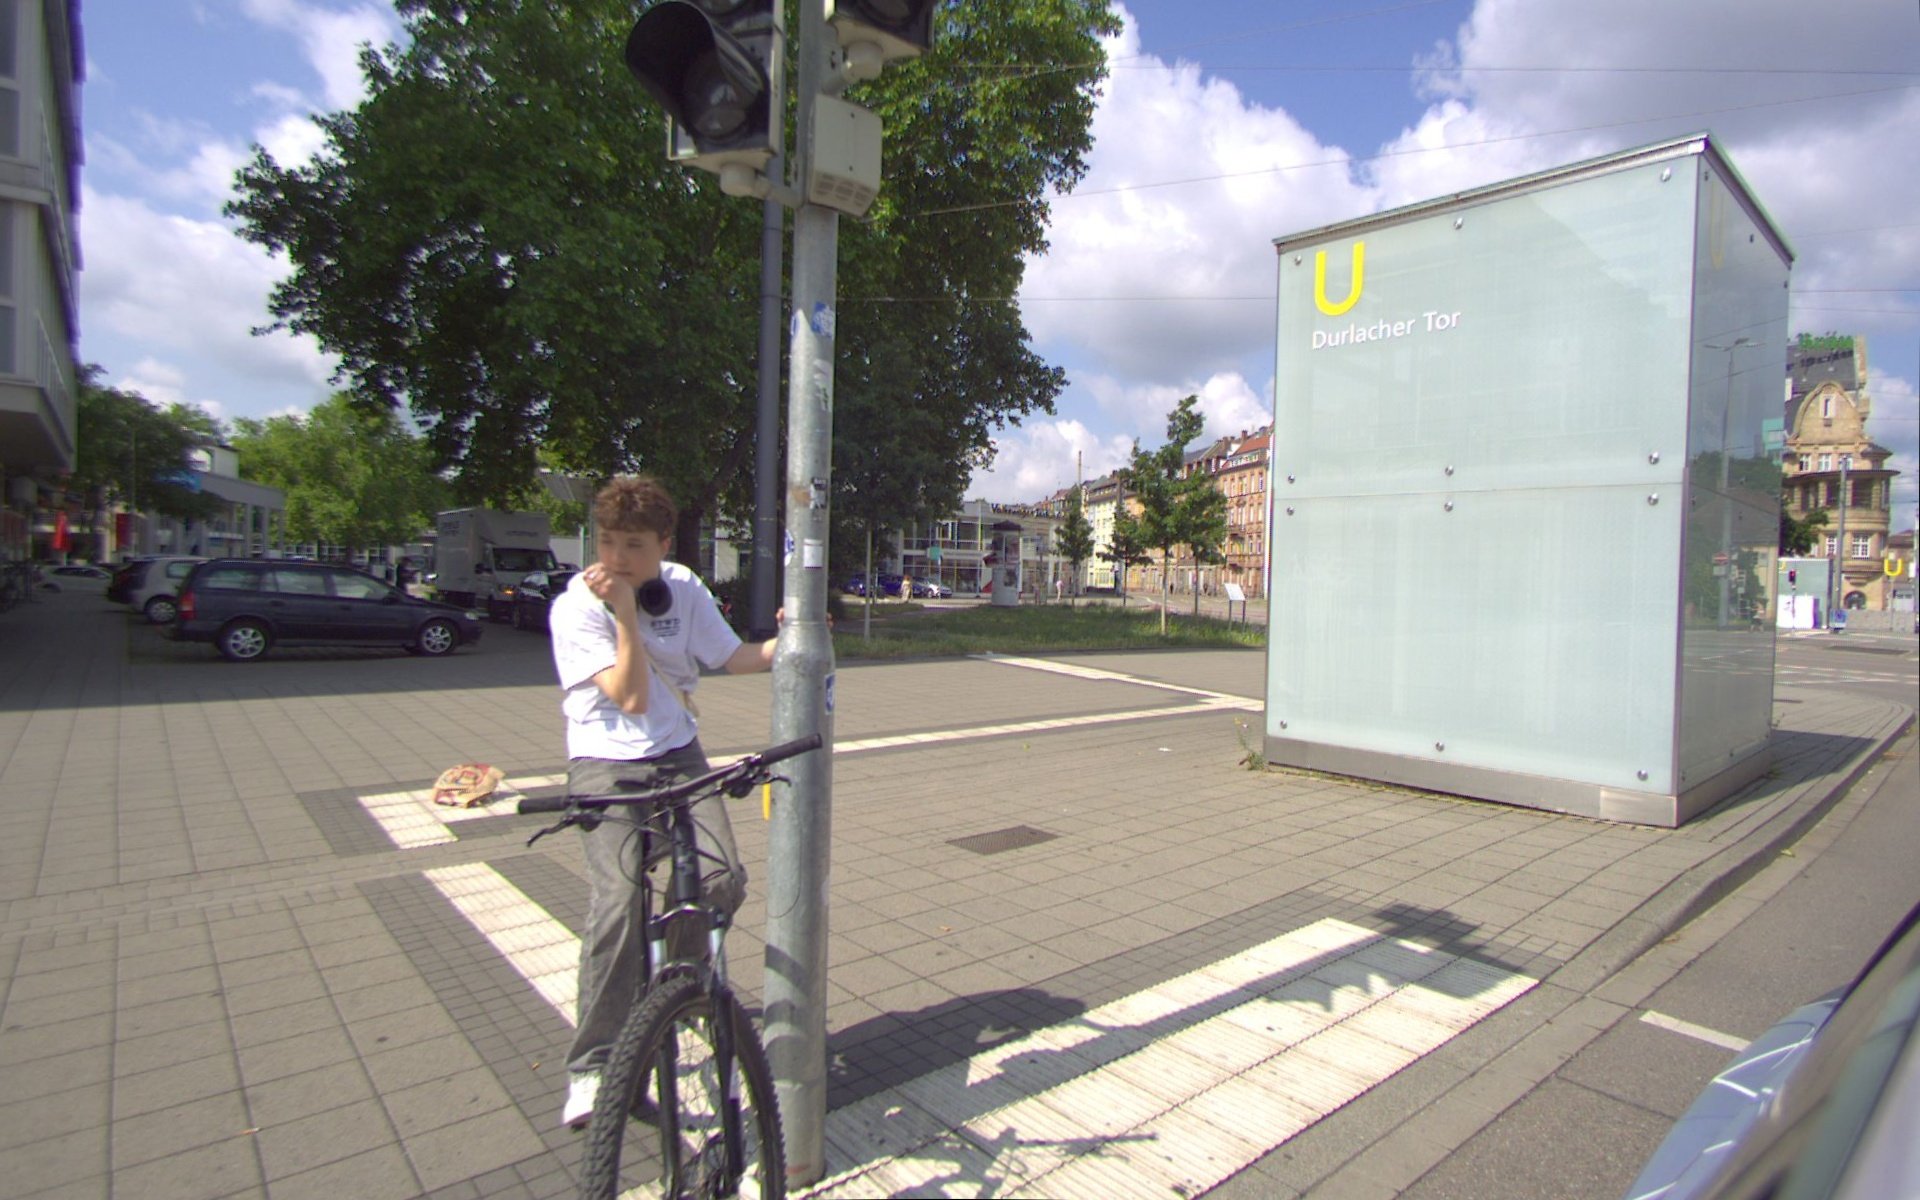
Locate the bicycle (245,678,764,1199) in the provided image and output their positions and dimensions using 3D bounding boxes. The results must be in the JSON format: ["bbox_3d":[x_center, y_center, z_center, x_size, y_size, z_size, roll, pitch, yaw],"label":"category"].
[{"bbox_3d":[-0.755,0.834,2.252,0.533,1.120,2.104,3,0,-10],"label":"bicycle"}]

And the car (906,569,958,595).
[{"bbox_3d":[-2.062,-1.320,72.778,1.896,1.705,4.003,3,0,-33],"label":"car"}]

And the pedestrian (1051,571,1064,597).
[{"bbox_3d":[7.612,-1.235,78.785,0.697,2.039,0.863,2,1,29],"label":"pedestrian"}]

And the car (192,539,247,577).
[{"bbox_3d":[-32.227,-1.830,44.027,1.632,1.571,3.995,1,2,-40],"label":"car"}]

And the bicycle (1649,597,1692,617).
[{"bbox_3d":[48.159,0.461,68.624,0.746,1.180,2.689,1,1,-7],"label":"bicycle"}]

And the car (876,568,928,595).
[{"bbox_3d":[-4.016,-1.301,69.849,1.959,1.747,4.005,3,0,-29],"label":"car"}]

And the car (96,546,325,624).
[{"bbox_3d":[-17.039,-0.320,23.119,4.023,1.533,1.806,3,0,-41],"label":"car"}]

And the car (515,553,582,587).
[{"bbox_3d":[-27.466,-1.981,67.689,3.915,2.039,2.004,3,0,-19],"label":"car"}]

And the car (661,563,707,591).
[{"bbox_3d":[-17.857,-1.506,65.350,1.756,1.703,4.004,1,2,-32],"label":"car"}]

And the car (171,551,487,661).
[{"bbox_3d":[-9.946,0.066,16.112,4.024,1.533,1.806,1,2,-41],"label":"car"}]

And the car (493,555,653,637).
[{"bbox_3d":[-9.258,-0.146,24.097,3.986,1.727,1.970,3,2,42],"label":"car"}]

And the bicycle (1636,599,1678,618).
[{"bbox_3d":[47.160,0.558,68.507,0.746,1.180,2.689,1,1,-6],"label":"bicycle"}]

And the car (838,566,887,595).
[{"bbox_3d":[-6.703,-1.349,69.298,1.959,1.861,4.006,0,1,-28],"label":"car"}]

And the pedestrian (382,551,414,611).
[{"bbox_3d":[-17.705,-0.600,31.888,0.622,1.822,0.740,3,-1,-43],"label":"pedestrian"}]

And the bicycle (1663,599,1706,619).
[{"bbox_3d":[49.192,0.600,68.709,0.746,1.180,2.688,1,1,-6],"label":"bicycle"}]

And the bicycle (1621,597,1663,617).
[{"bbox_3d":[46.085,0.447,68.410,0.746,1.180,2.689,4,1,-7],"label":"bicycle"}]

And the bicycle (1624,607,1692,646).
[{"bbox_3d":[21.614,0.815,31.338,2.154,1.083,0.879,-1,3,-31],"label":"bicycle"}]

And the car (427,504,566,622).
[{"bbox_3d":[-13.863,-1.086,29.957,1.964,3.081,7.243,1,1,-39],"label":"car"}]

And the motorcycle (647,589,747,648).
[{"bbox_3d":[-4.933,0.310,19.170,0.959,1.043,2.287,0,1,10],"label":"motorcycle"}]

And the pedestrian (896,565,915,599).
[{"bbox_3d":[-3.258,-1.073,60.203,0.794,2.039,0.809,1,1,-29],"label":"pedestrian"}]

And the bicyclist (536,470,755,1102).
[{"bbox_3d":[-0.758,0.403,2.590,0.387,1.353,0.785,3,-1,-11],"label":"bicyclist"}]

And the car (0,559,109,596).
[{"bbox_3d":[-39.744,-0.978,43.959,4.015,1.533,1.810,1,1,-33],"label":"car"}]
